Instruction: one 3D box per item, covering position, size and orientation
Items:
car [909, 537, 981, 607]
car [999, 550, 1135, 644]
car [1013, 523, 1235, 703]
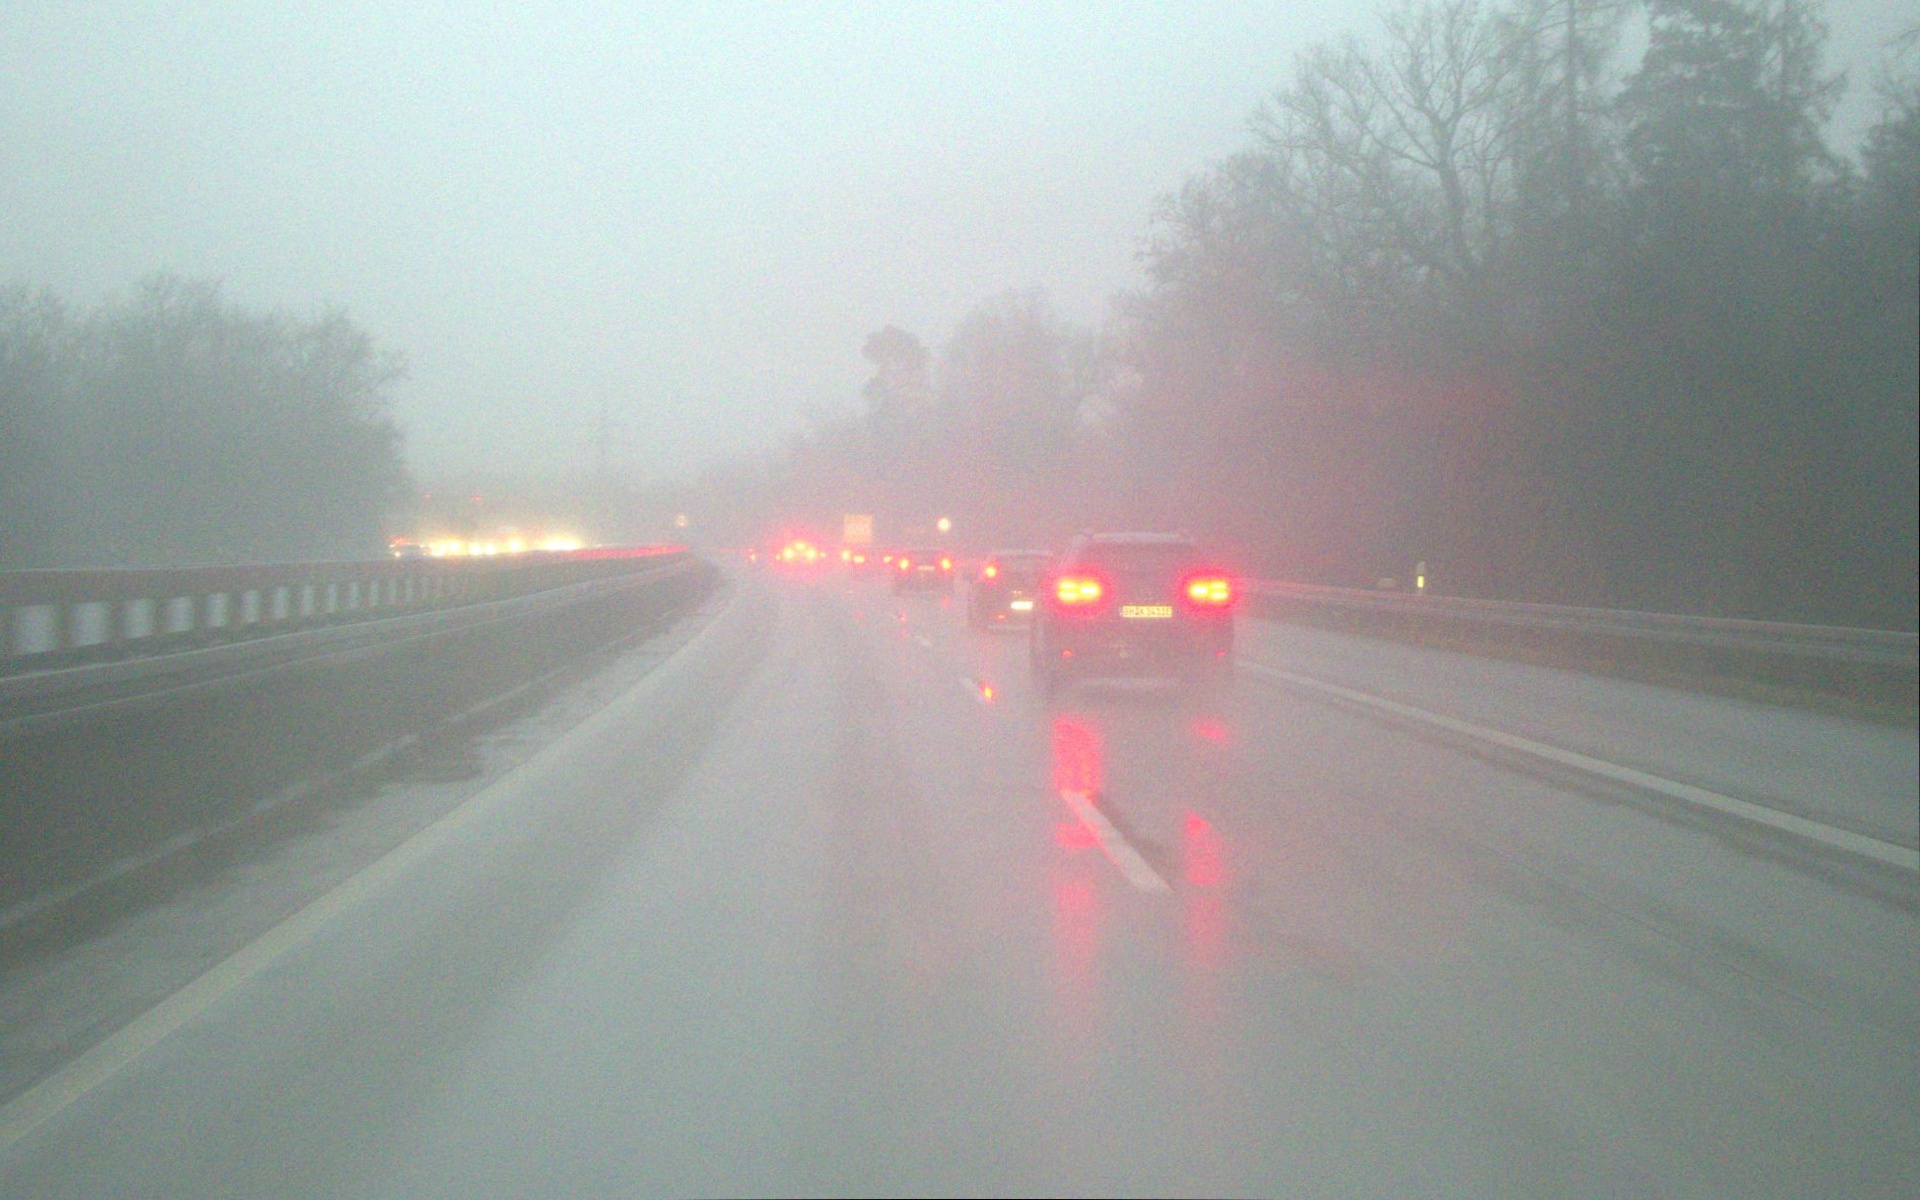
[{"bbox_3d":[-0.464,-0.824,101.743,1.993,2.007,4.000,1,1,-2],"label":"car"},{"bbox_3d":[1.737,-0.063,57.025,1.993,1.415,4.000,2,0,-1],"label":"car"},{"bbox_3d":[1.606,0.101,34.936,1.992,1.709,3.830,1,1,-1],"label":"car"}]
